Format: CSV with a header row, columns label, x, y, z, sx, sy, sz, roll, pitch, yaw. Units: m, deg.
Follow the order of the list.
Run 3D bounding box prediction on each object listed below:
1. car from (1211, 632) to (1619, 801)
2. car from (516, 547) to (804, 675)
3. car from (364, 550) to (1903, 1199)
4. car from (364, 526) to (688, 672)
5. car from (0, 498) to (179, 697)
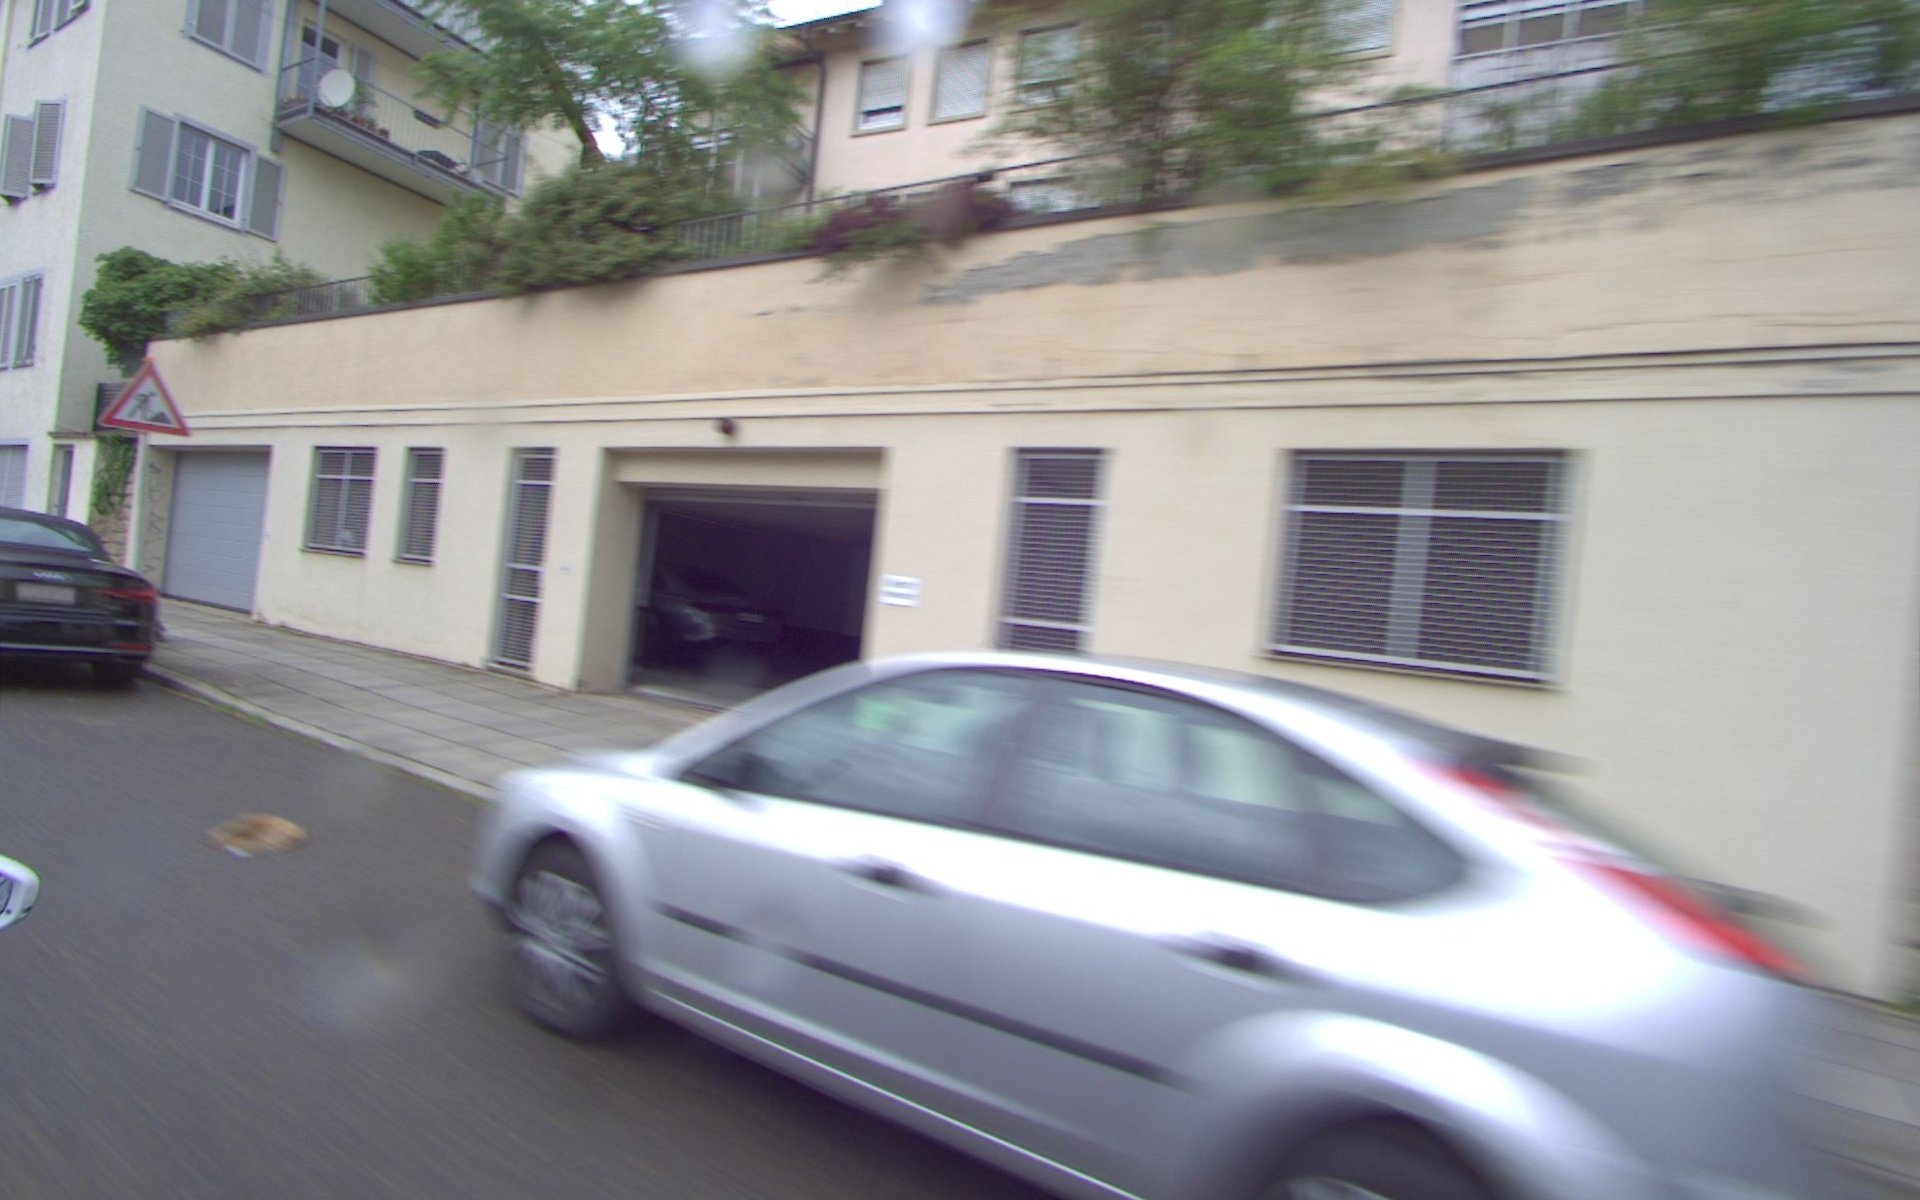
label,x,y,z,sx,sy,sz,roll,pitch,yaw
car,5.412,1.306,12.147,4.136,1.362,1.889,5,-2,34
car,-4.751,0.162,15.840,4.131,1.417,1.891,7,-1,29
car,0.057,0.869,3.403,4.164,1.470,1.692,8,-2,32
car,-6.036,-0.027,13.915,4.131,1.417,1.891,7,-1,29
car,-8.669,-0.185,8.754,3.697,1.470,1.633,7,-2,32
